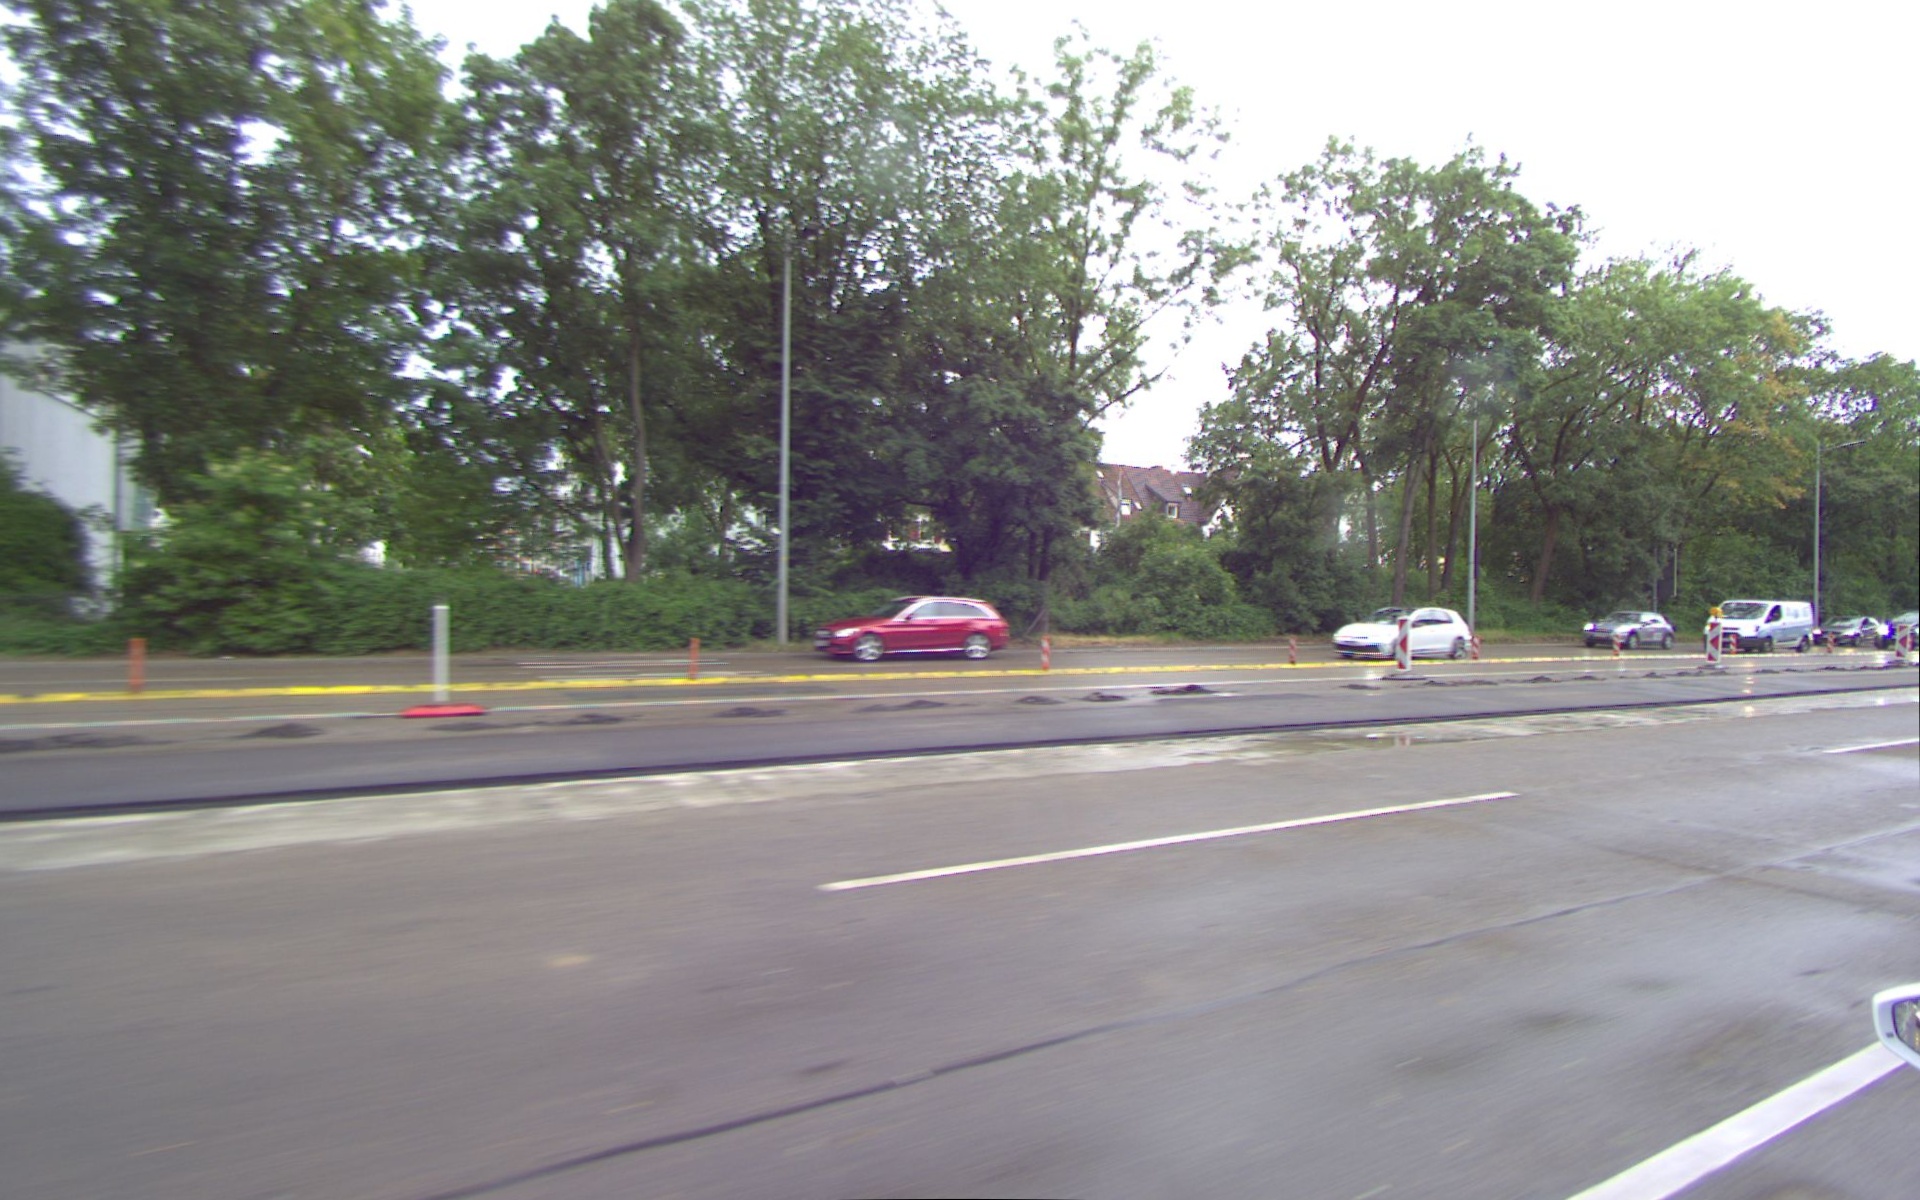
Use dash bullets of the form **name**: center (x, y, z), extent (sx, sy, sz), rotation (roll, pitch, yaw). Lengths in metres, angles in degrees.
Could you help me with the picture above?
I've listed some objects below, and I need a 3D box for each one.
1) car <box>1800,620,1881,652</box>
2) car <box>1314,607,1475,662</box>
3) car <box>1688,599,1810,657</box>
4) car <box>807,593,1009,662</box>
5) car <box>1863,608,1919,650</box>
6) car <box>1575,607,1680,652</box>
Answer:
- **car**: center (42.172, 1.699, 48.090), extent (3.951, 1.439, 1.638), rotation (1, 0, -29)
- **car**: center (12.144, 0.954, 28.014), extent (4.342, 1.434, 1.984), rotation (1, -1, -31)
- **car**: center (29.651, 1.023, 37.721), extent (4.846, 1.998, 1.983), rotation (1, 1, -31)
- **car**: center (-1.176, 0.626, 23.432), extent (4.435, 1.496, 1.720), rotation (1, -1, -31)
- **car**: center (43.161, 1.290, 45.369), extent (4.951, 1.748, 2.012), rotation (1, 1, -29)
- **car**: center (25.925, 1.133, 38.975), extent (3.953, 1.643, 1.818), rotation (1, 0, -30)
